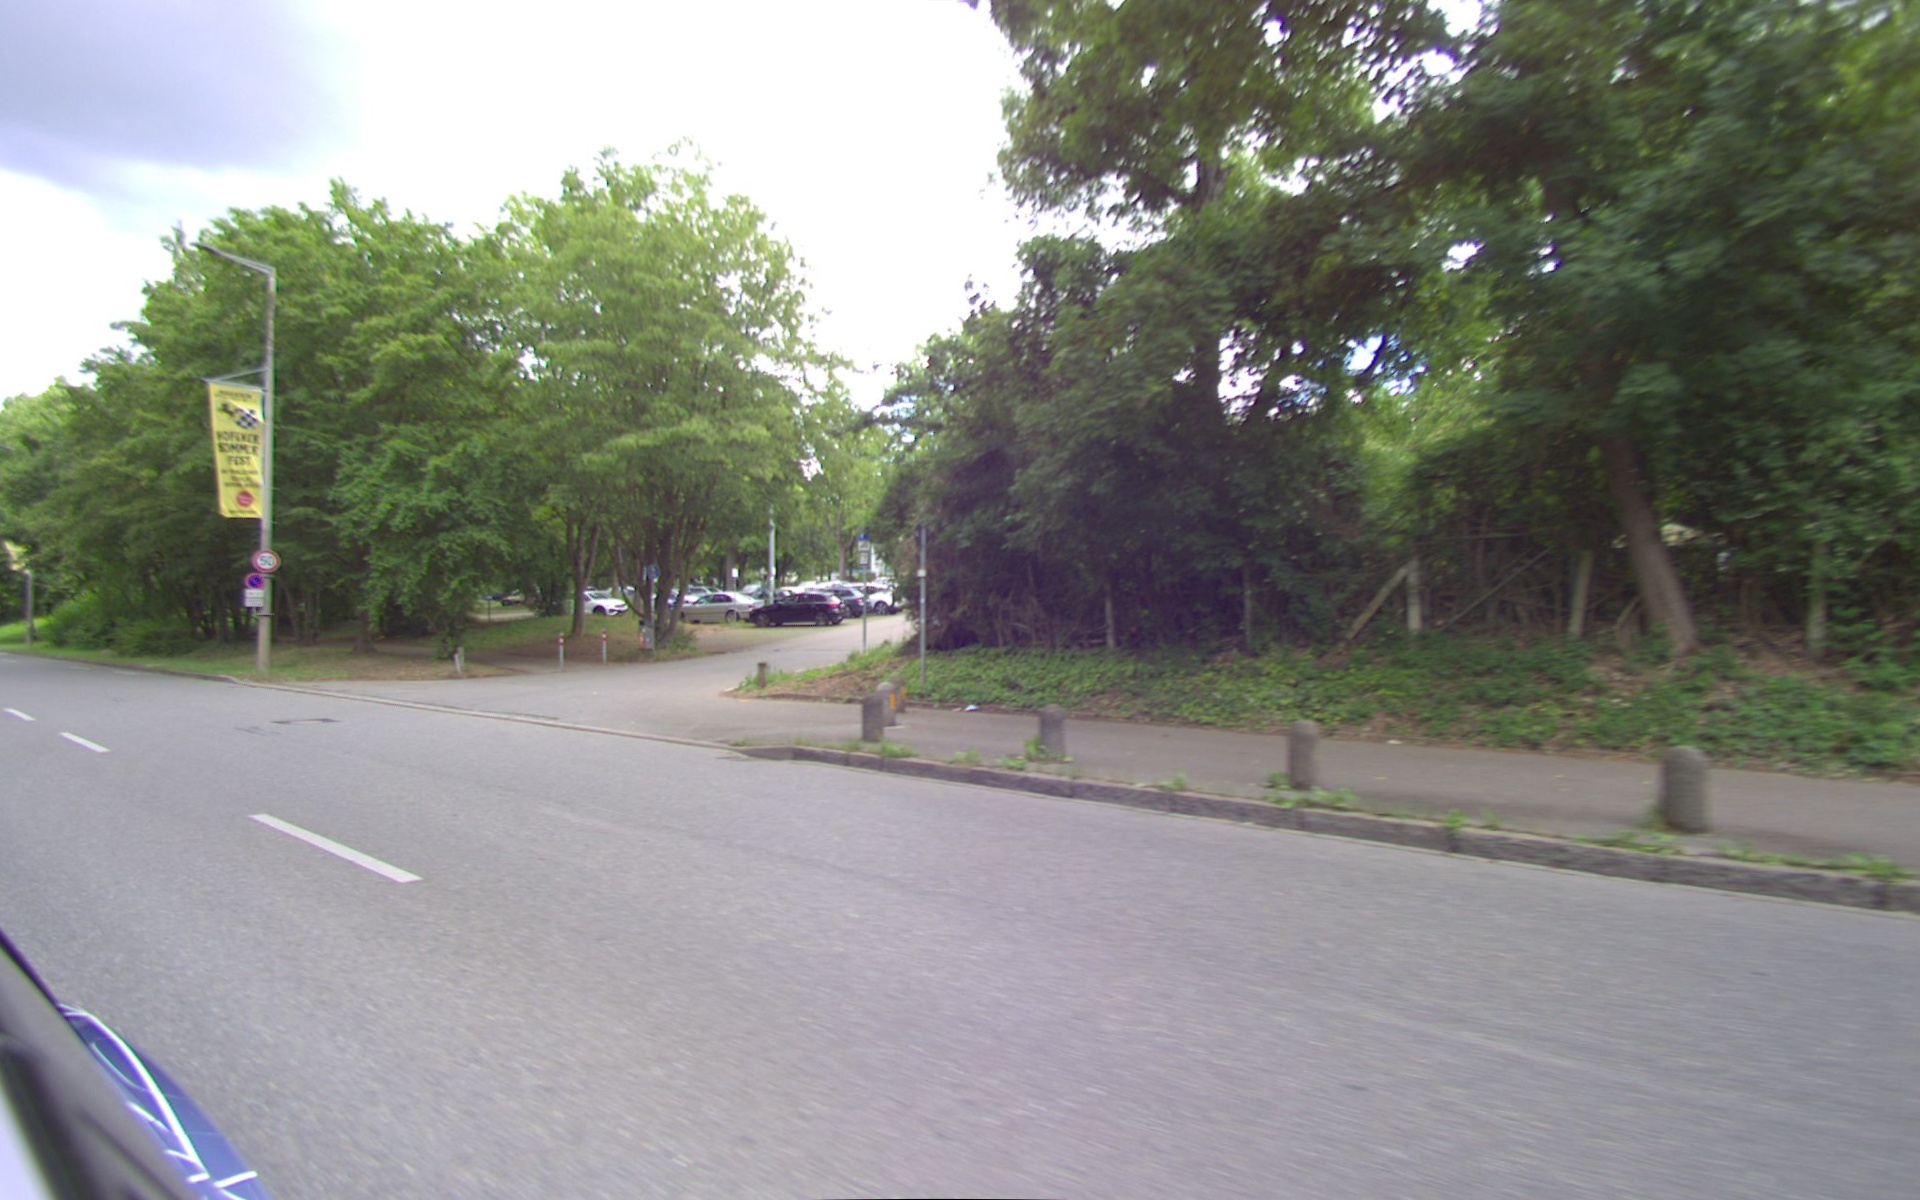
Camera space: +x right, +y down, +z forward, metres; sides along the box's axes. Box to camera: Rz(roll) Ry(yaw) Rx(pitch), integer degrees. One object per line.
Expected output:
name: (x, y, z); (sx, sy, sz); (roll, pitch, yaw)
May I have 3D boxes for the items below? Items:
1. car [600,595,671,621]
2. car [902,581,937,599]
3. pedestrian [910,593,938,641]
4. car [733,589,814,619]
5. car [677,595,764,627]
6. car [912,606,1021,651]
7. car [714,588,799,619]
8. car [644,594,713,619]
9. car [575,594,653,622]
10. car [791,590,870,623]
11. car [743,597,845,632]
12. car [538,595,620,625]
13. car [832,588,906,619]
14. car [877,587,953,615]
car: (-19.938, 0.475, 62.257); (3.966, 1.497, 1.642); (-1, 0, 17)
car: (-4.945, -1.233, 124.369); (3.950, 2.075, 1.893); (-1, 0, 16)
pedestrian: (-1.218, 0.582, 34.474); (0.824, 1.623, 0.467); (-1, -1, 19)
car: (-10.047, 0.211, 54.474); (3.966, 1.497, 1.642); (-1, 0, 17)
car: (-11.146, 0.506, 47.177); (3.553, 1.391, 1.642); (-1, 1, 14)
car: (0.199, 0.875, 31.007); (3.047, 1.247, 1.367); (-1, 1, 19)
car: (-10.522, 0.208, 52.367); (3.966, 1.497, 1.642); (-1, 0, 17)
car: (-17.933, 0.444, 64.496); (3.966, 1.497, 1.642); (-1, 0, 17)
car: (-19.705, 0.442, 57.647); (3.966, 1.497, 1.642); (-1, 0, 17)
car: (-6.106, 0.312, 47.860); (3.353, 1.425, 1.530); (-1, 1, 19)
car: (-7.096, 0.606, 43.207); (4.092, 1.350, 1.433); (-1, 1, 20)
car: (-20.651, 0.536, 54.849); (3.966, 1.497, 1.642); (-1, 0, 17)
car: (-4.524, 0.170, 50.311); (3.353, 1.425, 1.530); (-1, 1, 19)
car: (-2.506, 0.060, 56.944); (3.966, 1.497, 1.642); (-1, 0, 17)
